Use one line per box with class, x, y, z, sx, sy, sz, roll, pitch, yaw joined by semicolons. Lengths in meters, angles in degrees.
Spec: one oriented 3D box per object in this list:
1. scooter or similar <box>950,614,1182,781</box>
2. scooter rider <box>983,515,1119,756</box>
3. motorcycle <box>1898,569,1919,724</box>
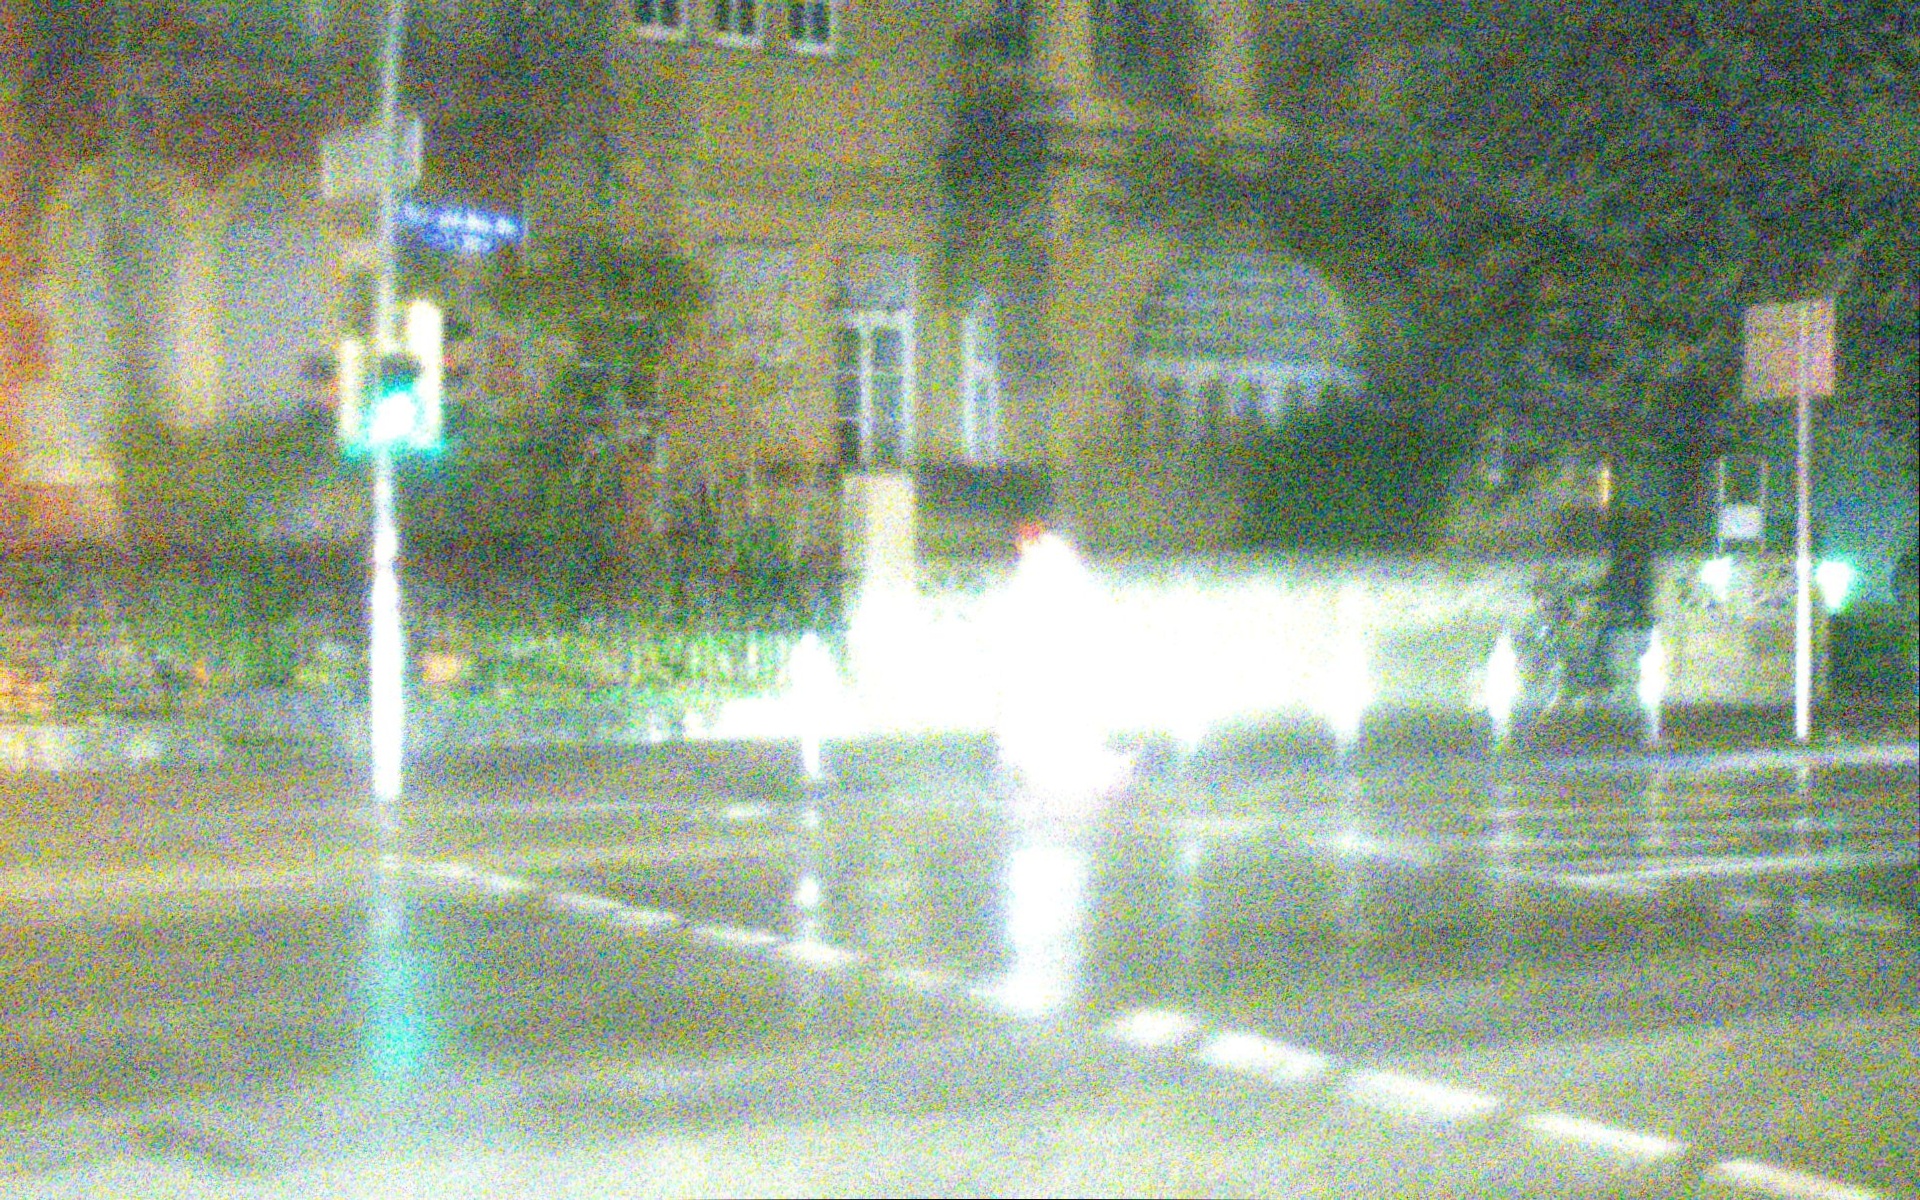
scooter or similar;0.703;0.642;22.859;1.364;1.048;0.642;1;2;-24
scooter rider;0.605;0.233;22.965;0.650;1.567;0.642;1;2;-24
motorcycle;8.740;0.358;27.453;2.317;1.226;0.710;0;-1;-12
